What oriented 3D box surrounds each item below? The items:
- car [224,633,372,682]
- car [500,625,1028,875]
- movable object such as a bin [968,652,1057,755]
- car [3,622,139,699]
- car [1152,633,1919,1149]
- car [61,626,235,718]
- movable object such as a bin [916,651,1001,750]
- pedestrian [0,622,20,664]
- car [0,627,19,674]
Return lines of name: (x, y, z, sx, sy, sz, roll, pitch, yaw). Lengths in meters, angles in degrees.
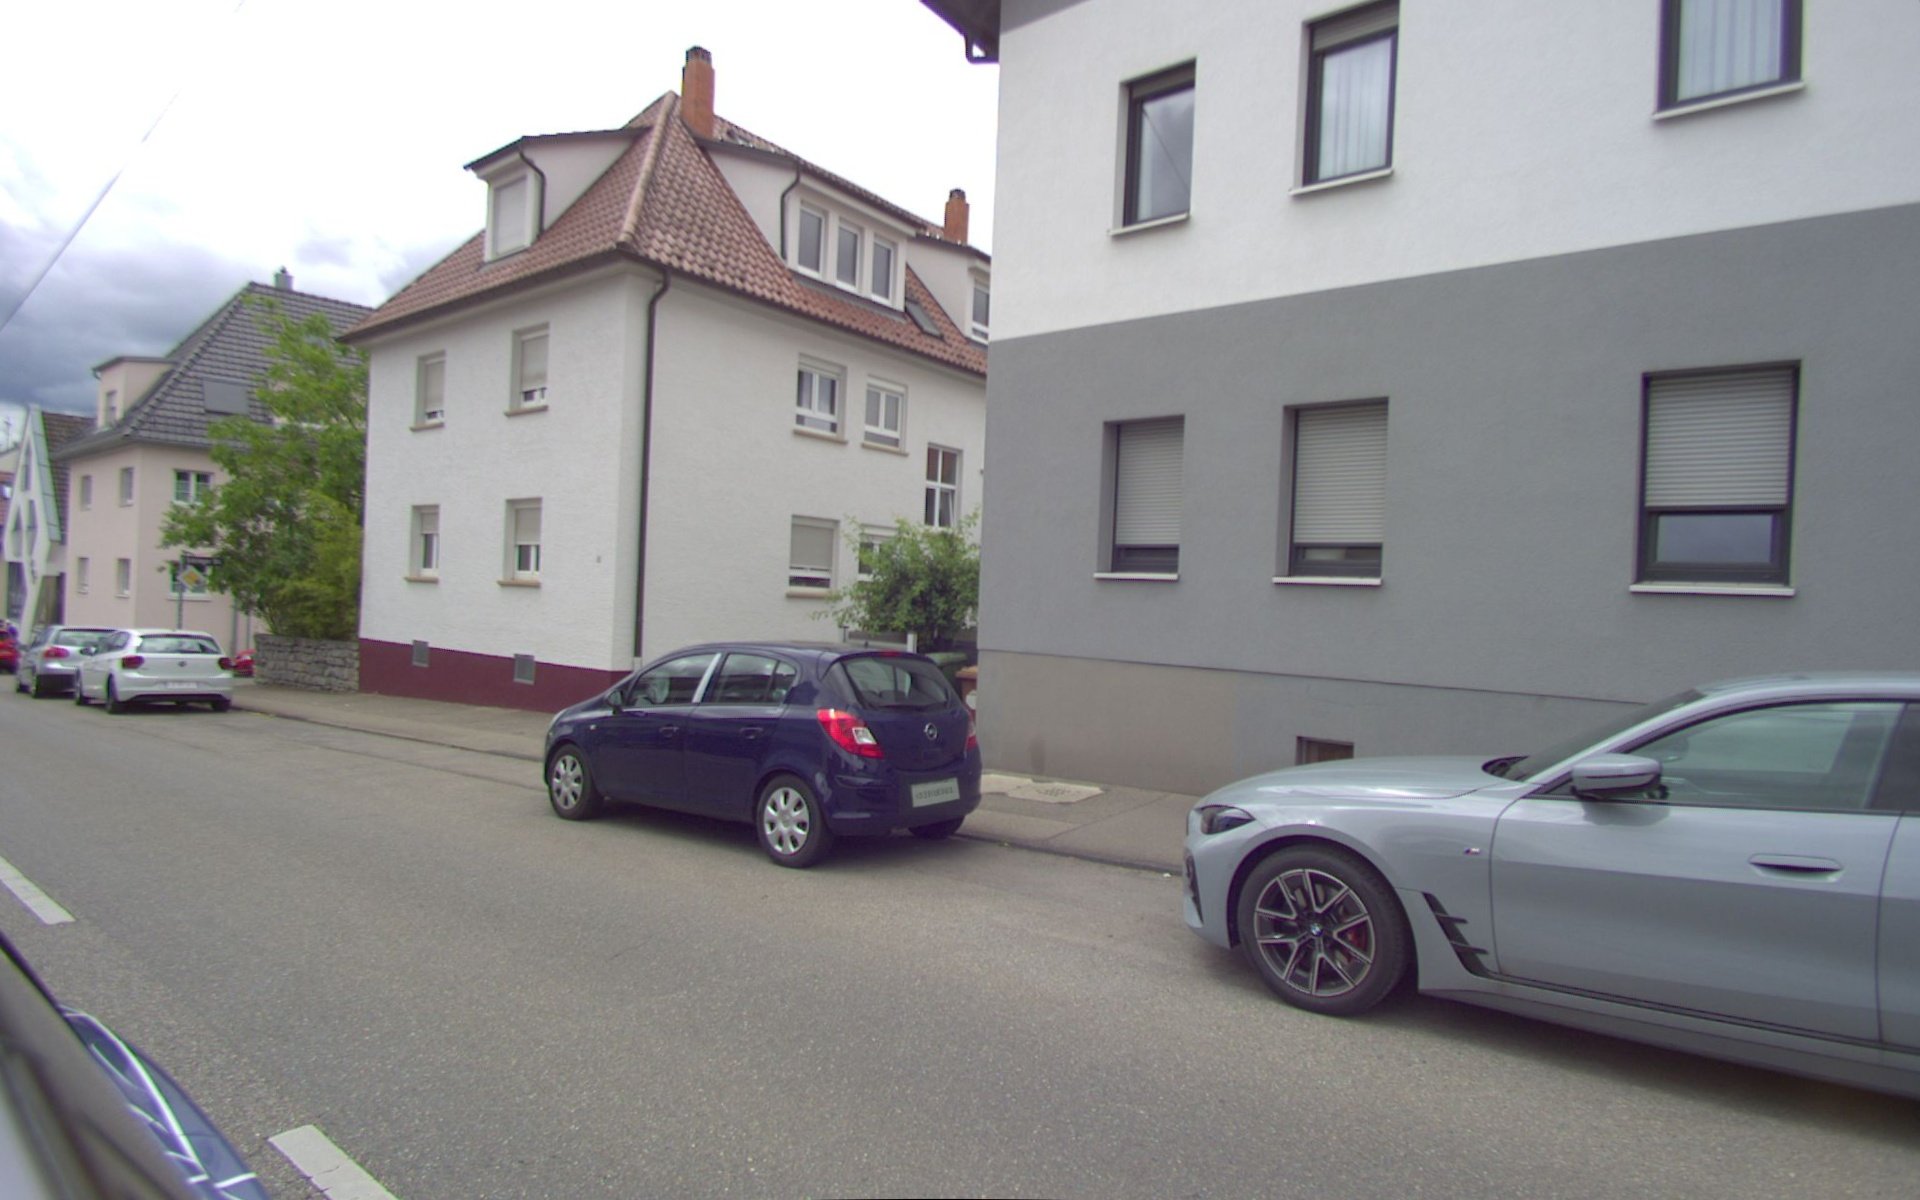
car: (-21.218, 1.803, 32.512, 1.707, 1.421, 3.682, -1, -1, 43)
car: (-1.642, 0.969, 7.925, 3.993, 1.456, 1.820, -1, -4, 37)
movable object such as a bin: (0.625, 1.201, 12.019, 0.763, 1.121, 0.718, -1, 0, 39)
car: (-18.719, 1.217, 21.261, 3.772, 1.458, 1.632, -1, -3, 41)
car: (3.155, 0.900, 3.786, 4.461, 1.456, 1.820, -1, -4, 38)
car: (-14.716, 1.237, 18.282, 3.807, 1.458, 1.633, -1, -3, 39)
movable object such as a bin: (-0.012, 1.210, 12.493, 0.763, 1.121, 0.718, -1, 0, 39)
pedestrian: (-35.586, 1.585, 37.838, 0.599, 1.544, 0.576, -1, 0, 39)
car: (-30.740, 1.499, 31.379, 3.731, 1.421, 1.685, -1, -5, 39)
